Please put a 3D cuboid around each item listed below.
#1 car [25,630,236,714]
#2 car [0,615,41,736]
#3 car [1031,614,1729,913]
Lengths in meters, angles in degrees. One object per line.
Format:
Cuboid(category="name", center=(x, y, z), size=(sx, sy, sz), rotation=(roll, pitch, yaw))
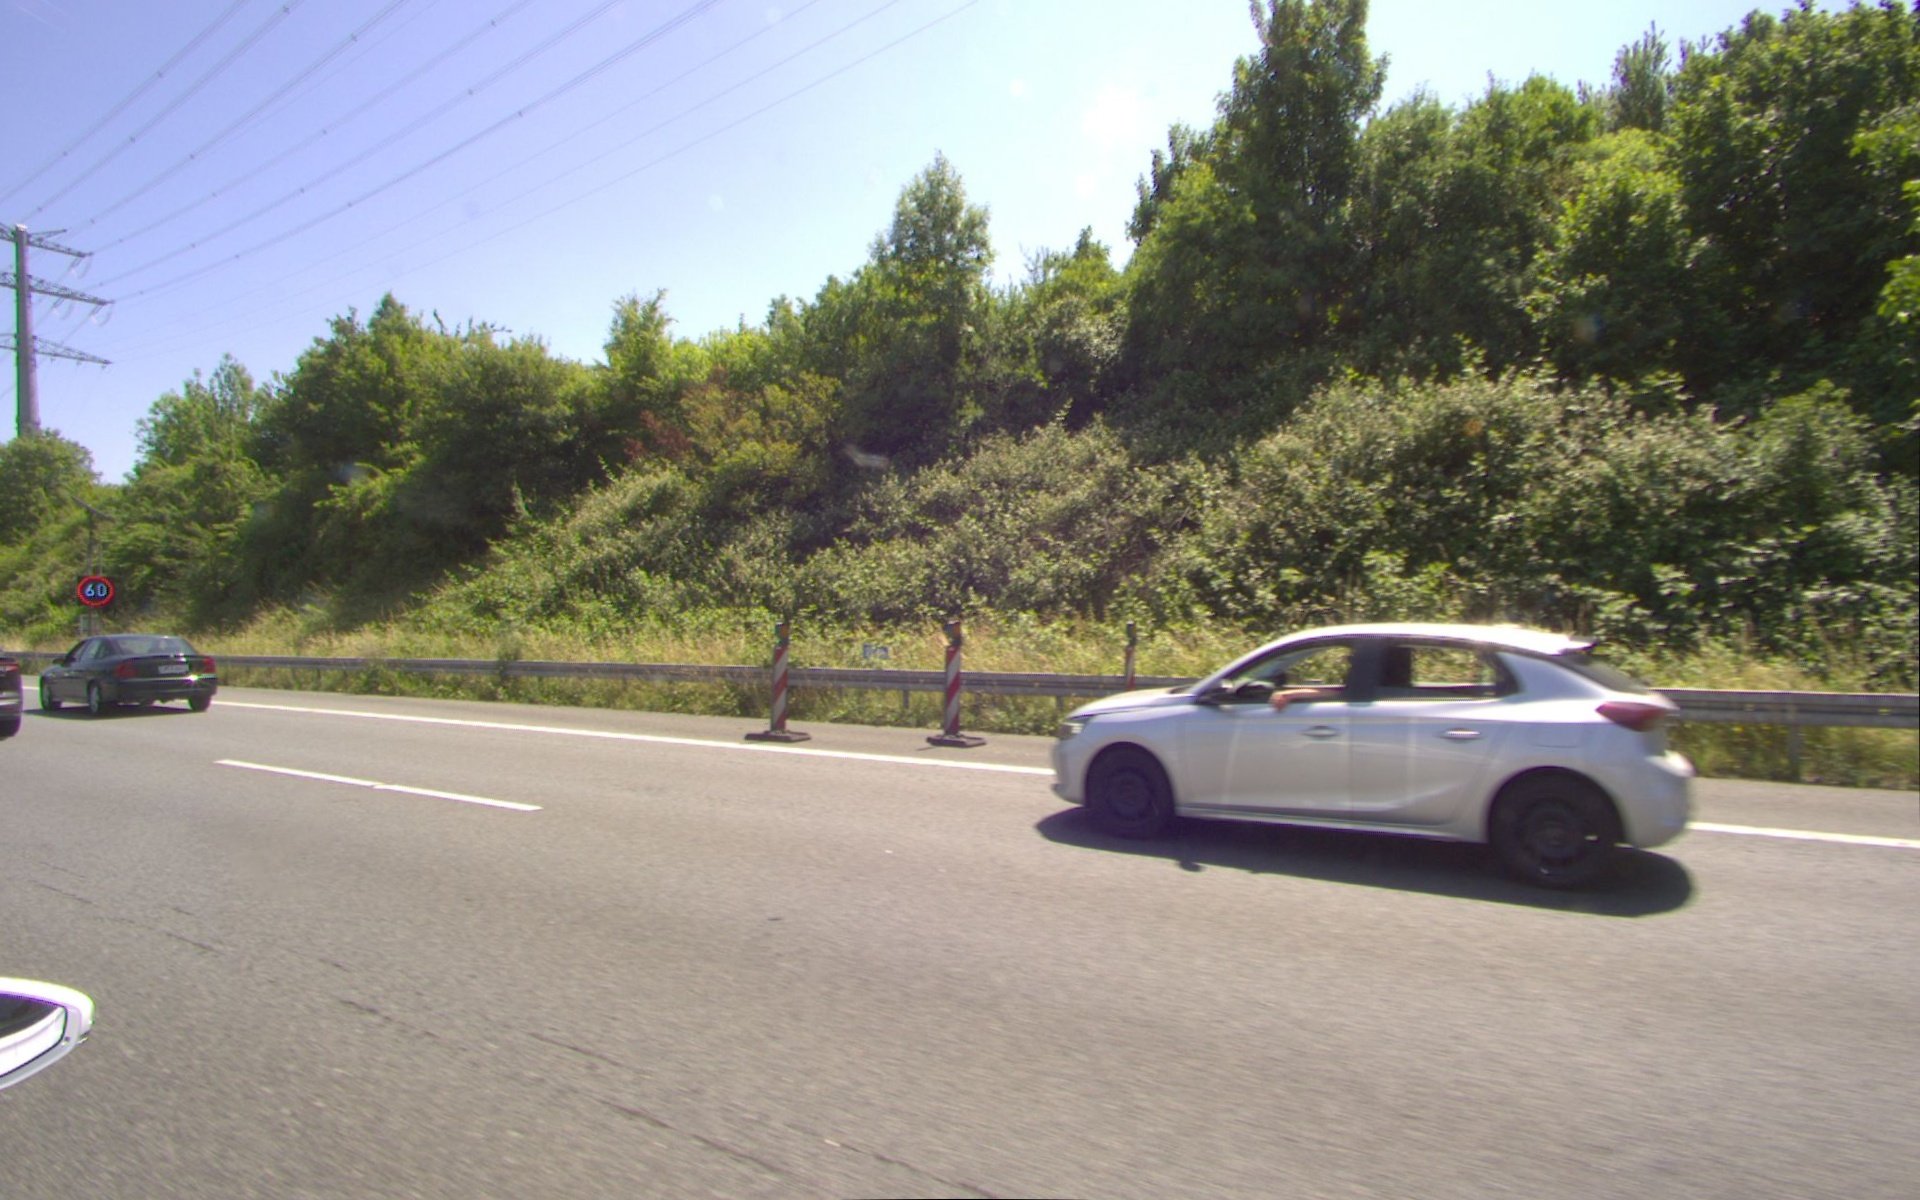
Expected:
Cuboid(category="car", center=(-15.454, 1.264, 18.613), size=(4.239, 1.395, 1.732), rotation=(-1, -2, 31))
Cuboid(category="car", center=(-14.982, 1.030, 14.189), size=(4.367, 1.635, 1.825), rotation=(-1, -1, 32))
Cuboid(category="car", center=(2.627, 0.862, 6.801), size=(3.957, 1.489, 1.737), rotation=(-1, -1, 33))
